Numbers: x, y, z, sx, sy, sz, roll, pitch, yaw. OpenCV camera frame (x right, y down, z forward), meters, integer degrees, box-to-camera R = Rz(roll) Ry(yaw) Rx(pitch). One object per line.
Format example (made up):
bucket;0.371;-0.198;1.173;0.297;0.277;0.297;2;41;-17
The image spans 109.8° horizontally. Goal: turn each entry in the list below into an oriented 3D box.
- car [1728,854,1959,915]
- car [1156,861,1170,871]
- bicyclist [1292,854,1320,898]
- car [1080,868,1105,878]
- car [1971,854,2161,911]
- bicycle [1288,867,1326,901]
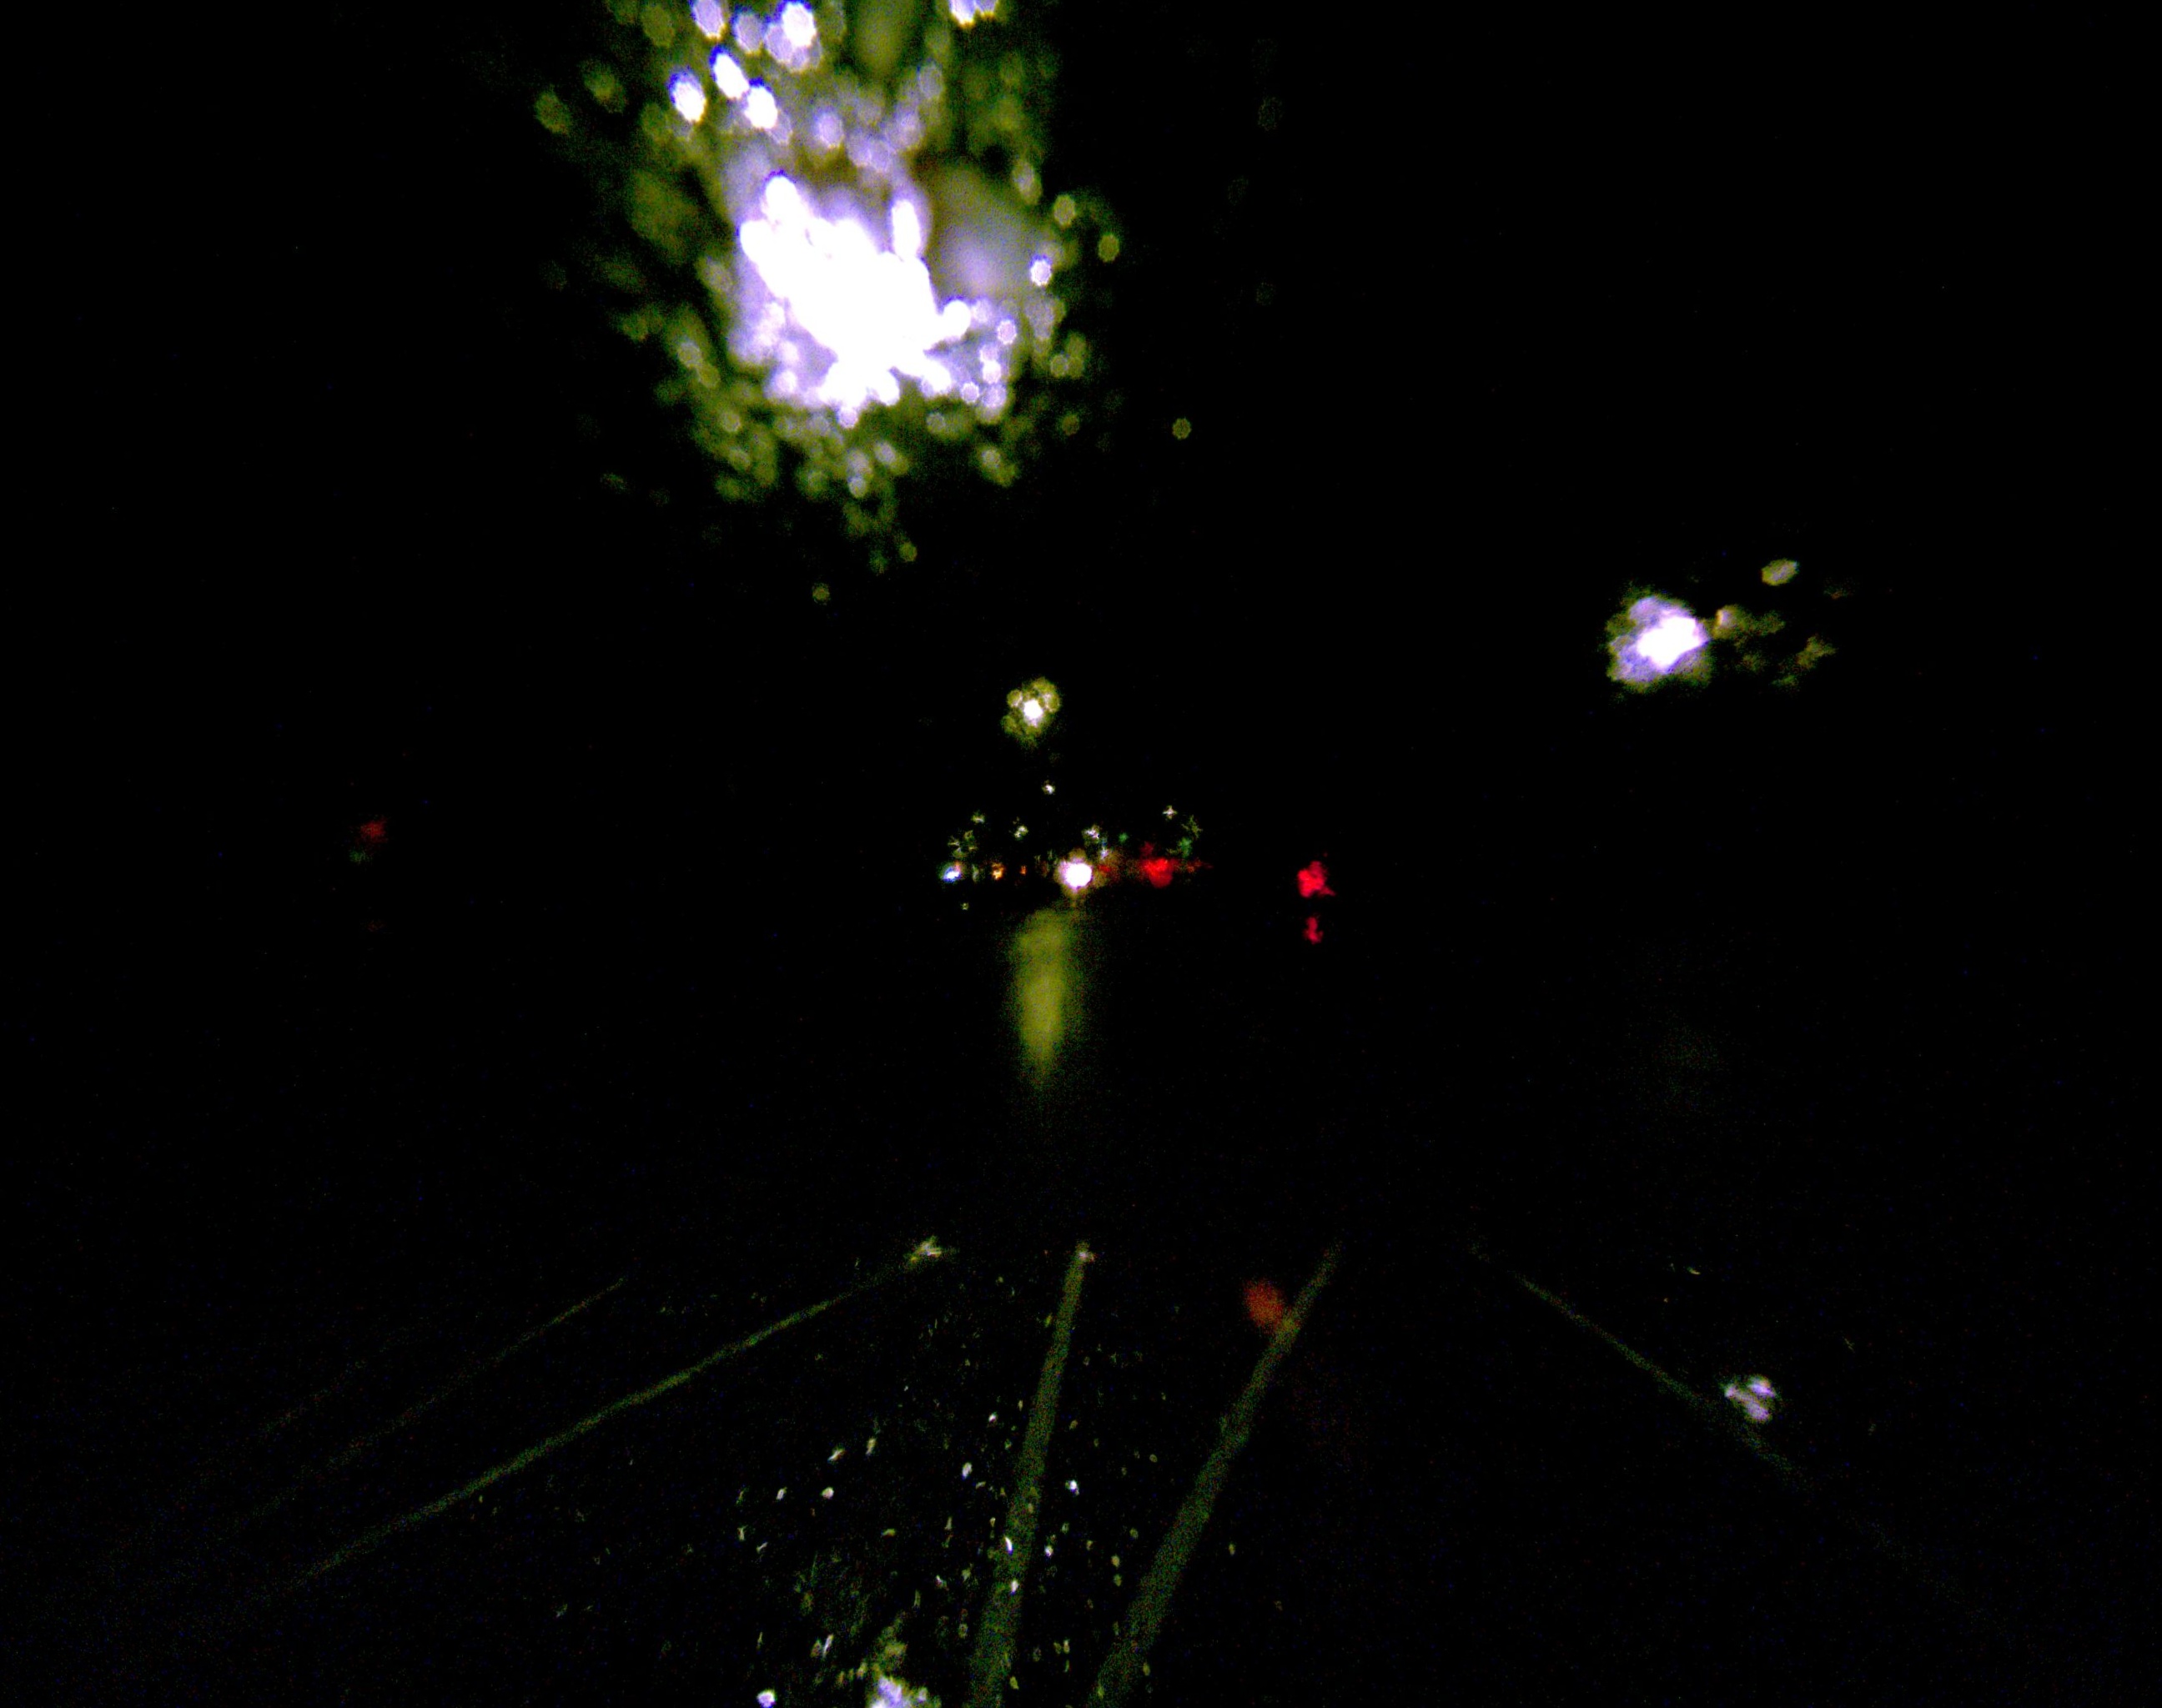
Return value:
car;19.157;0.745;19.237;4.084;1.364;1.494;-1;4;5
car;13.159;1.920;122.236;1.997;1.447;4.306;2;0;8
bicyclist;8.260;0.819;27.882;0.638;1.585;0.961;-3;-2;-1
car;2.059;3.337;135.952;4.430;1.612;1.999;-1;0;-4
car;25.293;0.695;19.143;3.864;1.252;1.494;-1;3;1
bicycle;8.258;1.073;27.828;0.631;1.154;2.313;-3;0;0
